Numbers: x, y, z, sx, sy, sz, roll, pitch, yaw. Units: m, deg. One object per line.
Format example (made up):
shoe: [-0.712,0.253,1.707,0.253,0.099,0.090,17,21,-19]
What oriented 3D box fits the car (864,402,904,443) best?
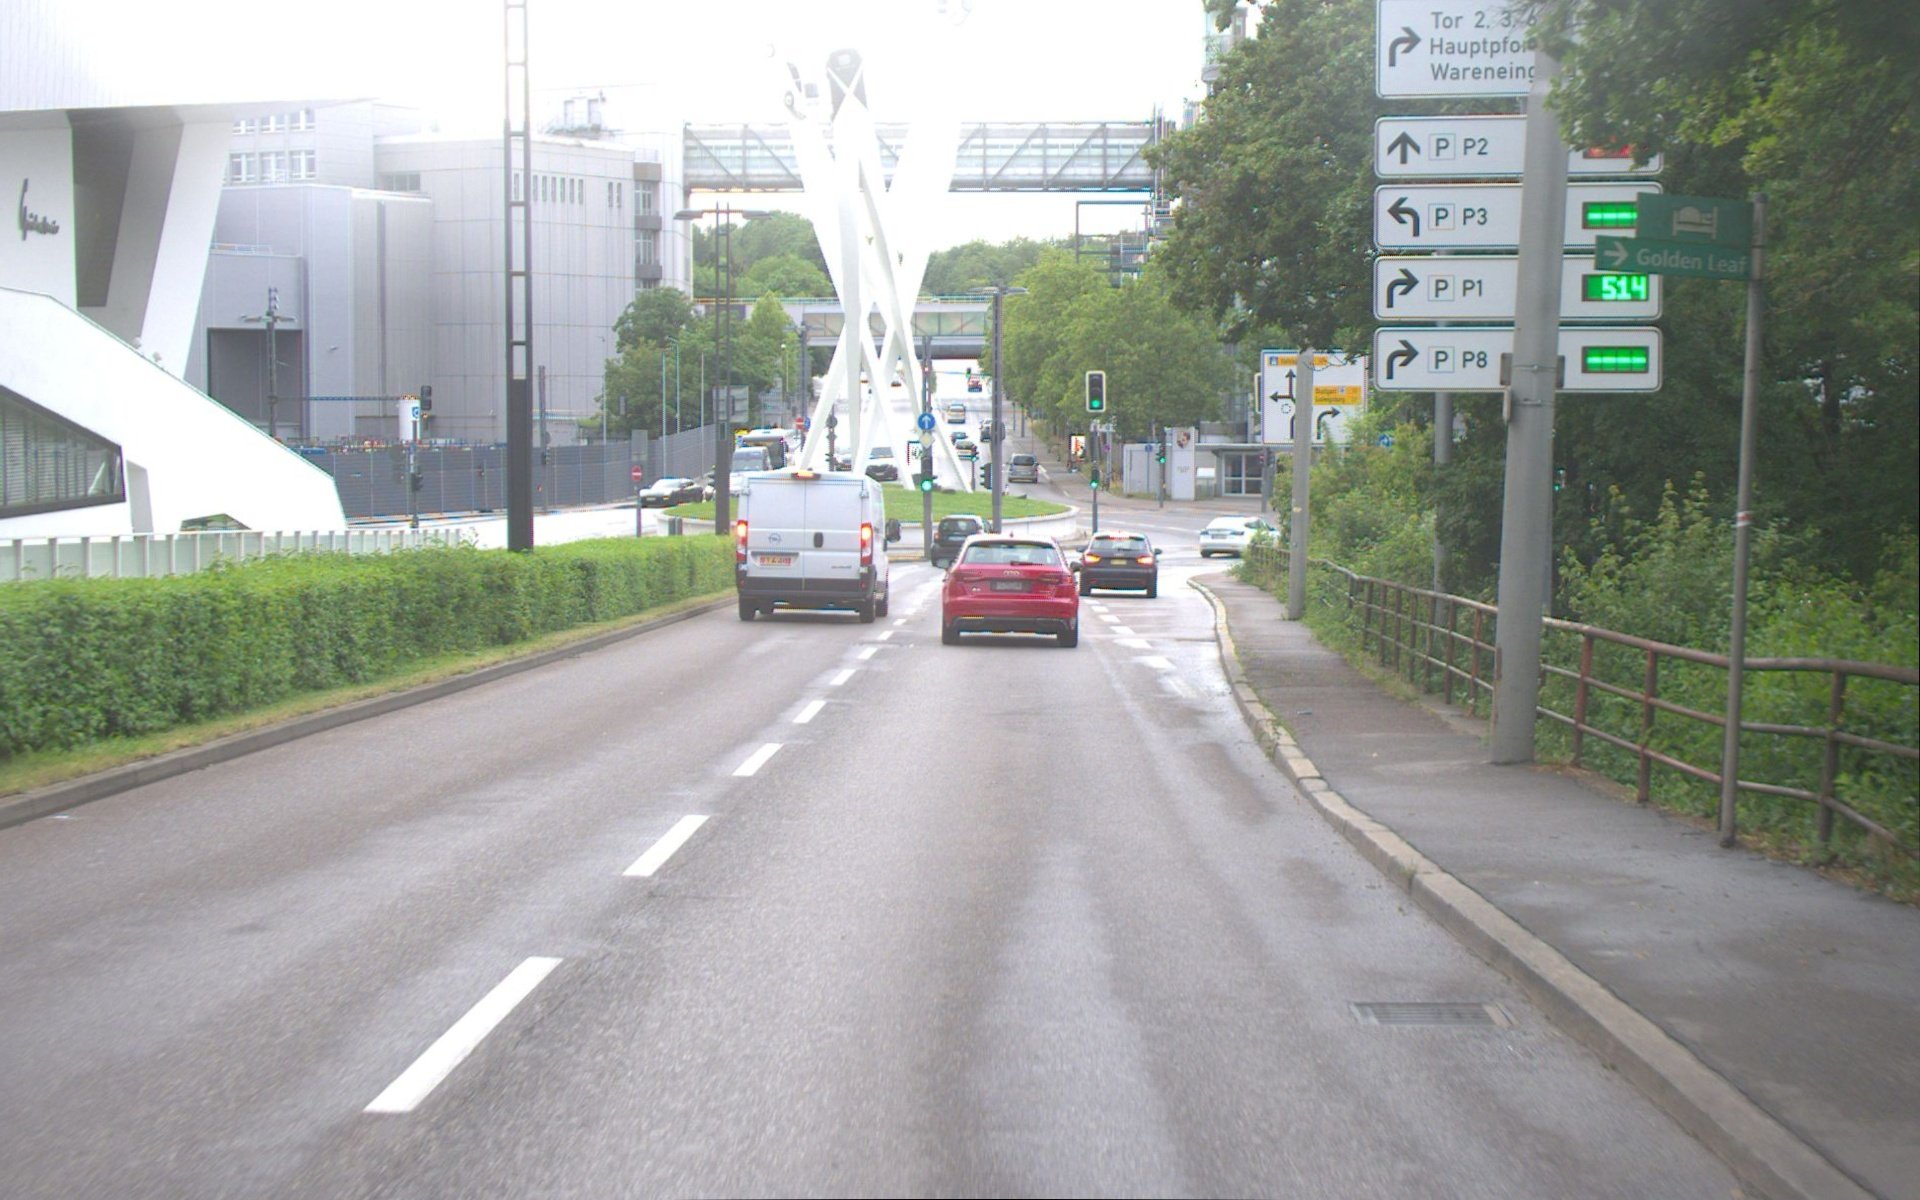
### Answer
car: [-4.556,-10.681,206.446,1.994,2.438,5.427,1,3,3]

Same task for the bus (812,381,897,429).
bus: [-7.324,-13.583,240.289,2.670,3.189,12.664,2,3,13]

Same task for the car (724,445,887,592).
car: [-2.304,-1.269,52.602,2.232,2.100,4.955,1,2,0]

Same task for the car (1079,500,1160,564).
car: [3.454,-1.490,74.789,1.610,1.286,3.567,1,2,1]

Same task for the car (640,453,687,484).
car: [-15.169,-6.749,176.024,1.833,1.467,4.514,1,3,3]

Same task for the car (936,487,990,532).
car: [0.113,-2.737,103.882,1.557,1.283,3.414,1,2,1]

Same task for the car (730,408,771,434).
car: [-11.919,-10.186,195.684,1.833,1.467,4.514,1,3,3]

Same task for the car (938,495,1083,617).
car: [0.655,-0.605,44.703,1.772,1.459,3.733,1,2,1]

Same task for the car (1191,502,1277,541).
car: [9.533,-2.721,119.224,1.670,1.296,3.881,2,2,26]
